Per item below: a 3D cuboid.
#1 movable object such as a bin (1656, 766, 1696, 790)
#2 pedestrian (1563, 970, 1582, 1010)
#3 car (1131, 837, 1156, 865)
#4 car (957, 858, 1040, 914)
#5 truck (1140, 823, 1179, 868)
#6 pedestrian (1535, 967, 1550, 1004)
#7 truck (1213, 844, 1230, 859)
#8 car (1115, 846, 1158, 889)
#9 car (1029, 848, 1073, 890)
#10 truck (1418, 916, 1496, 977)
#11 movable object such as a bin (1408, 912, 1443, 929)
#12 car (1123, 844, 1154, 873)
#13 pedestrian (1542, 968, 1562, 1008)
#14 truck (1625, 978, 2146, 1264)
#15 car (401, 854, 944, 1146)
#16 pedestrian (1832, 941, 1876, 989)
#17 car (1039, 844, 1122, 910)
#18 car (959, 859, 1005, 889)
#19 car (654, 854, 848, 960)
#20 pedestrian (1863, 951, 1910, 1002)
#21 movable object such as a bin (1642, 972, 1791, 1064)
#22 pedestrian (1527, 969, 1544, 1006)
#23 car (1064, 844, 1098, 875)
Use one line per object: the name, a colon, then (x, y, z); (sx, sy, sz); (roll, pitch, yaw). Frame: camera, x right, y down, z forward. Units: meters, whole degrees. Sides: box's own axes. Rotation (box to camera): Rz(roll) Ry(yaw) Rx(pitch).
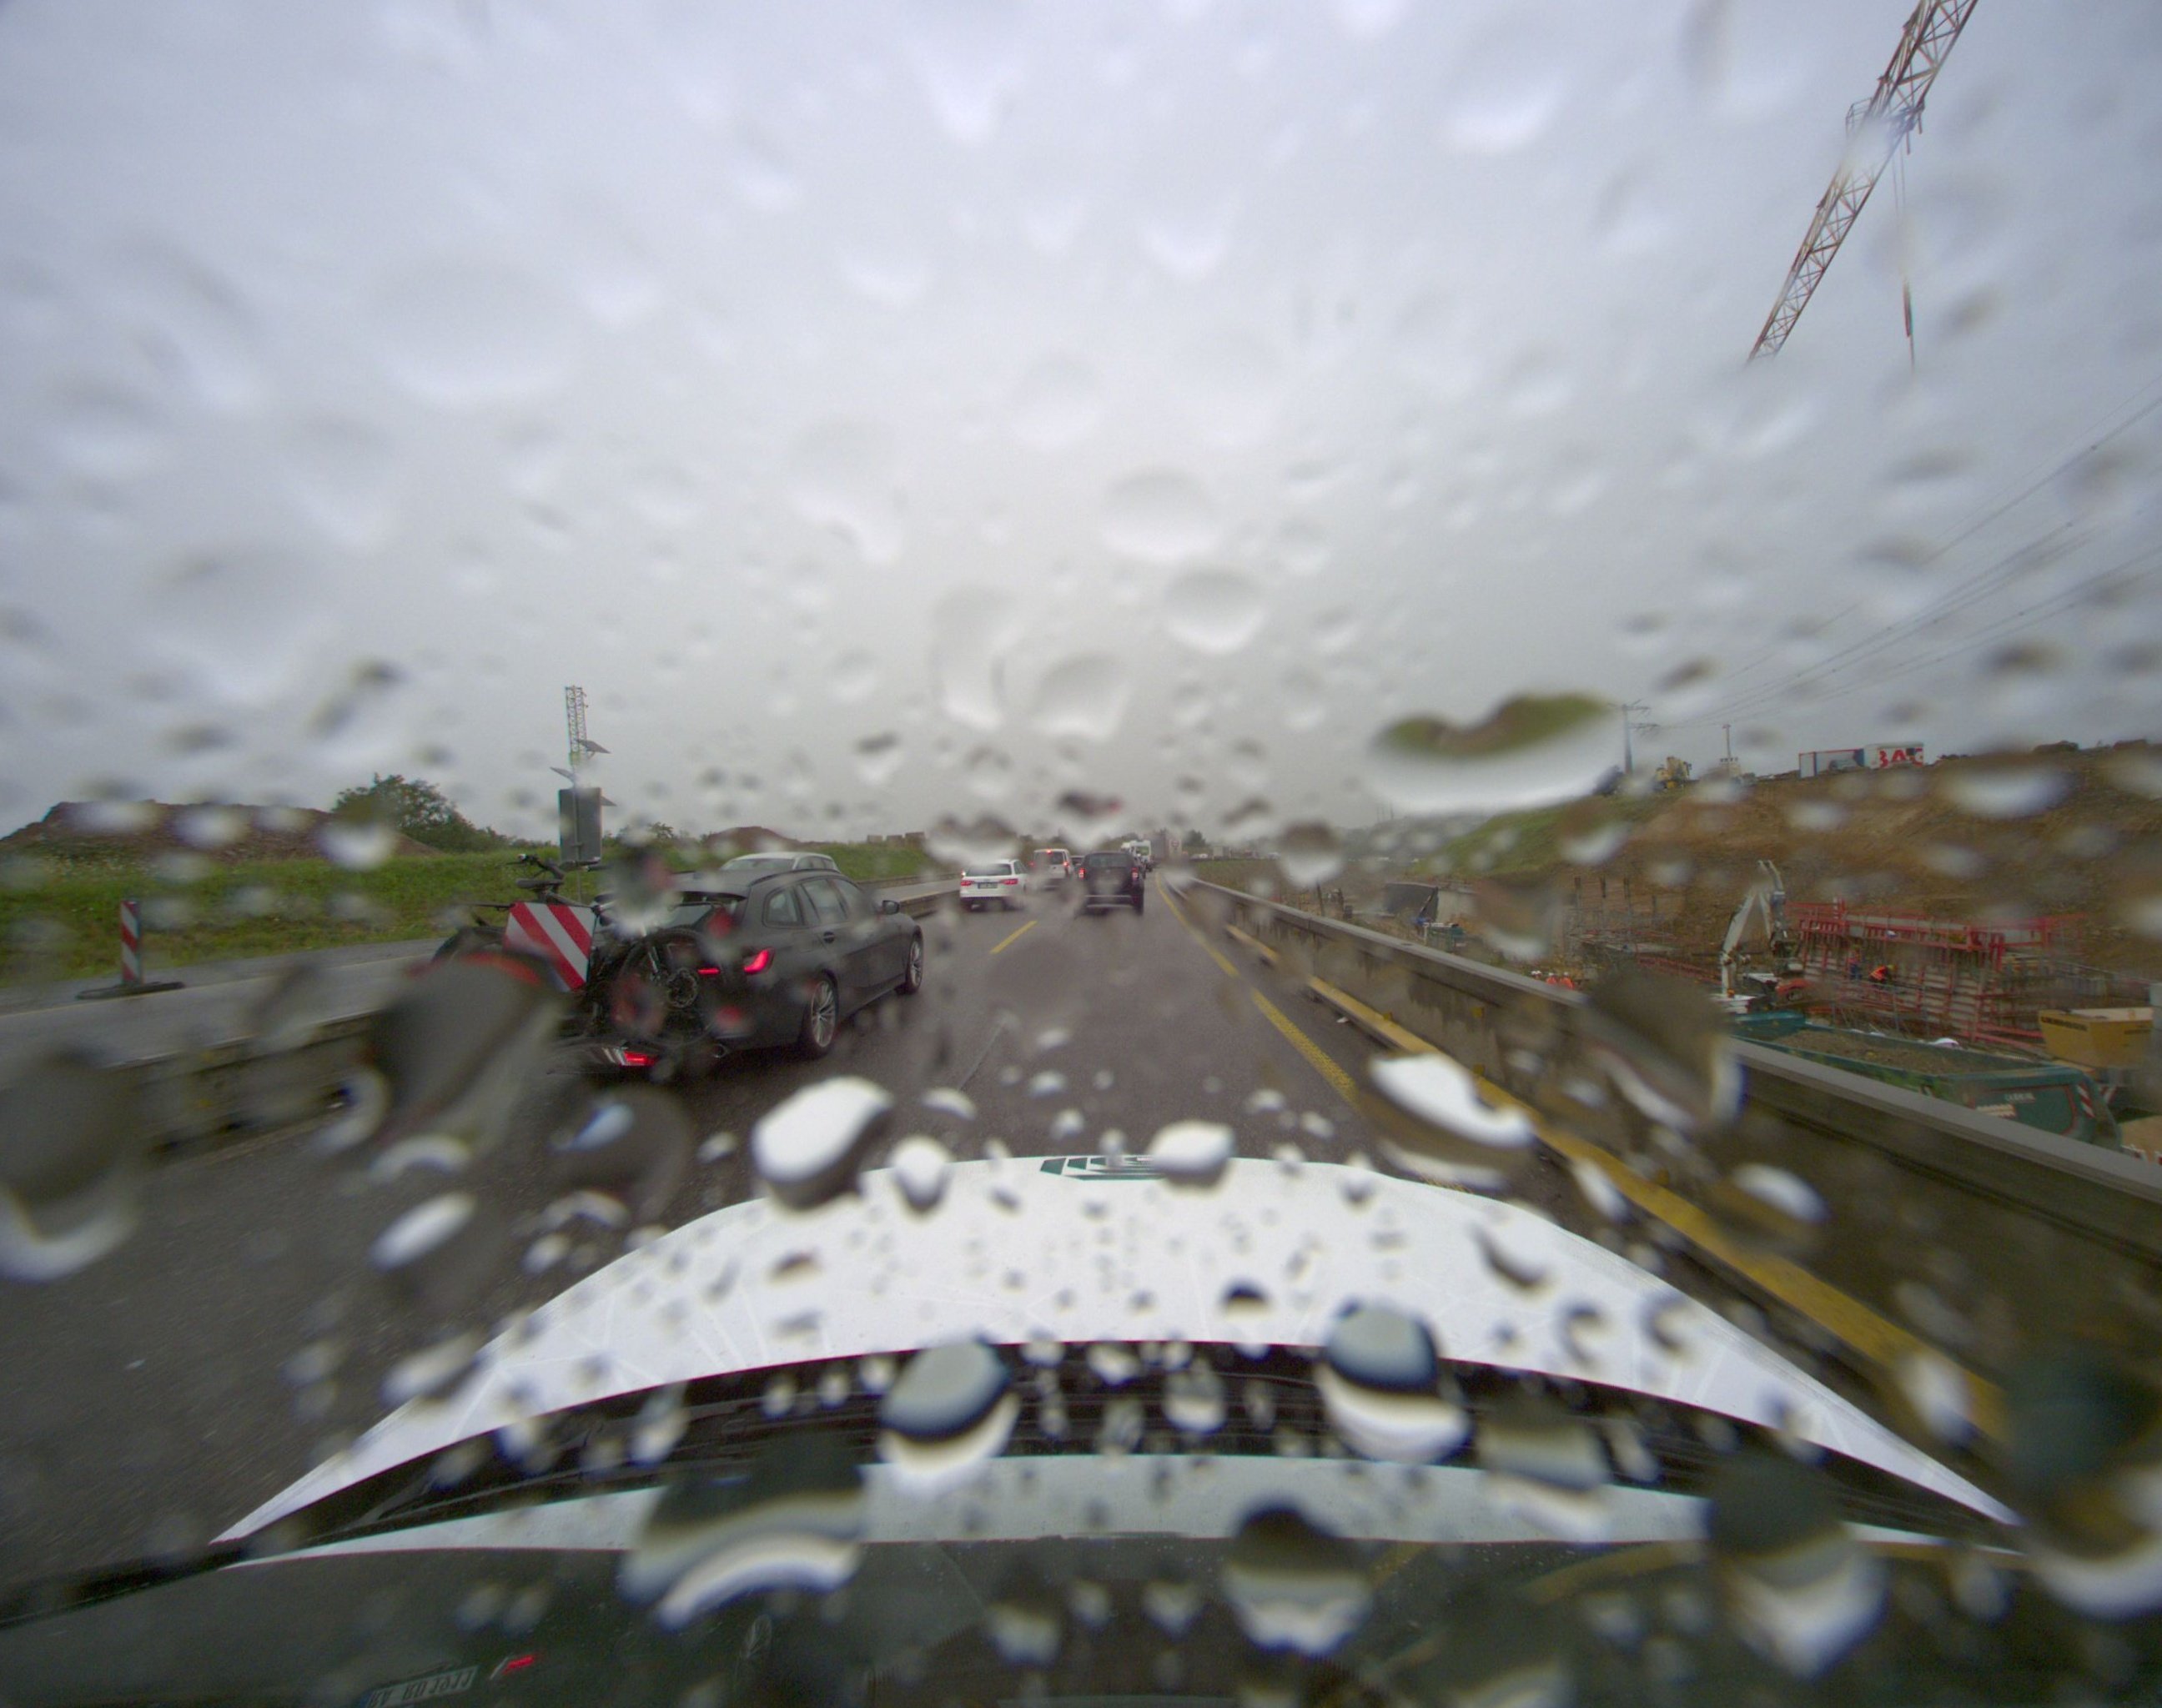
movable object such as a bin: (68.969, -8.784, 94.476); (2.413, 2.443, 3.982); (0, 1, 12)
pedestrian: (25.585, 7.069, 42.435); (0.726, 1.944, 0.579); (-1, -1, 42)
car: (5.603, -0.222, 72.748); (1.815, 2.437, 4.168); (0, -1, 9)
car: (-2.316, 0.888, 23.758); (1.819, 1.499, 4.002); (0, -1, 3)
truck: (9.584, -0.927, 98.350); (3.520, 5.077, 10.474); (0, -1, 12)
pedestrian: (25.308, 7.197, 44.630); (0.568, 1.869, 0.740); (-1, -1, 40)
truck: (37.710, -0.715, 218.464); (3.445, 3.715, 8.454); (-1, 0, 17)
car: (2.448, 0.608, 36.460); (1.819, 1.815, 4.003); (0, -1, 3)
car: (-1.334, 0.685, 37.530); (1.820, 1.815, 3.999); (0, -1, 0)
truck: (27.256, 6.607, 59.494); (2.714, 3.491, 9.086); (0, -1, 9)
movable object such as a bin: (45.253, 8.721, 106.942); (2.007, 2.014, 3.802); (3, -4, -32)
car: (3.684, 0.296, 51.957); (1.817, 1.815, 4.007); (0, -1, 6)
pedestrian: (24.909, 7.079, 43.075); (0.576, 1.944, 0.729); (0, -1, -24)
truck: (16.426, 5.130, 18.074); (2.691, 3.503, 8.945); (0, -1, 0)
car: (-2.728, 0.805, 7.291); (1.727, 1.462, 5.634); (-1, 1, 3)
pedestrian: (36.160, 5.167, 38.101); (0.898, 1.999, 0.901); (10, 0, 8)
car: (0.079, 0.590, 21.851); (1.817, 1.591, 4.006); (0, -1, 6)
car: (-5.018, 0.982, 41.640); (1.603, 1.443, 4.464); (0, -1, 2)
car: (-5.994, 0.870, 15.434); (1.783, 1.723, 4.290); (0, 0, 2)
pedestrian: (35.877, 5.452, 36.283); (0.898, 1.999, 0.901); (10, 0, 8)
movable object such as a bin: (22.881, 5.841, 29.517); (3.135, 2.738, 2.972); (0, -1, 4)
pedestrian: (24.582, 7.190, 44.015); (0.570, 1.869, 0.737); (-1, -1, 10)
car: (0.039, 0.336, 50.242); (1.818, 1.815, 4.004); (0, -1, 4)
